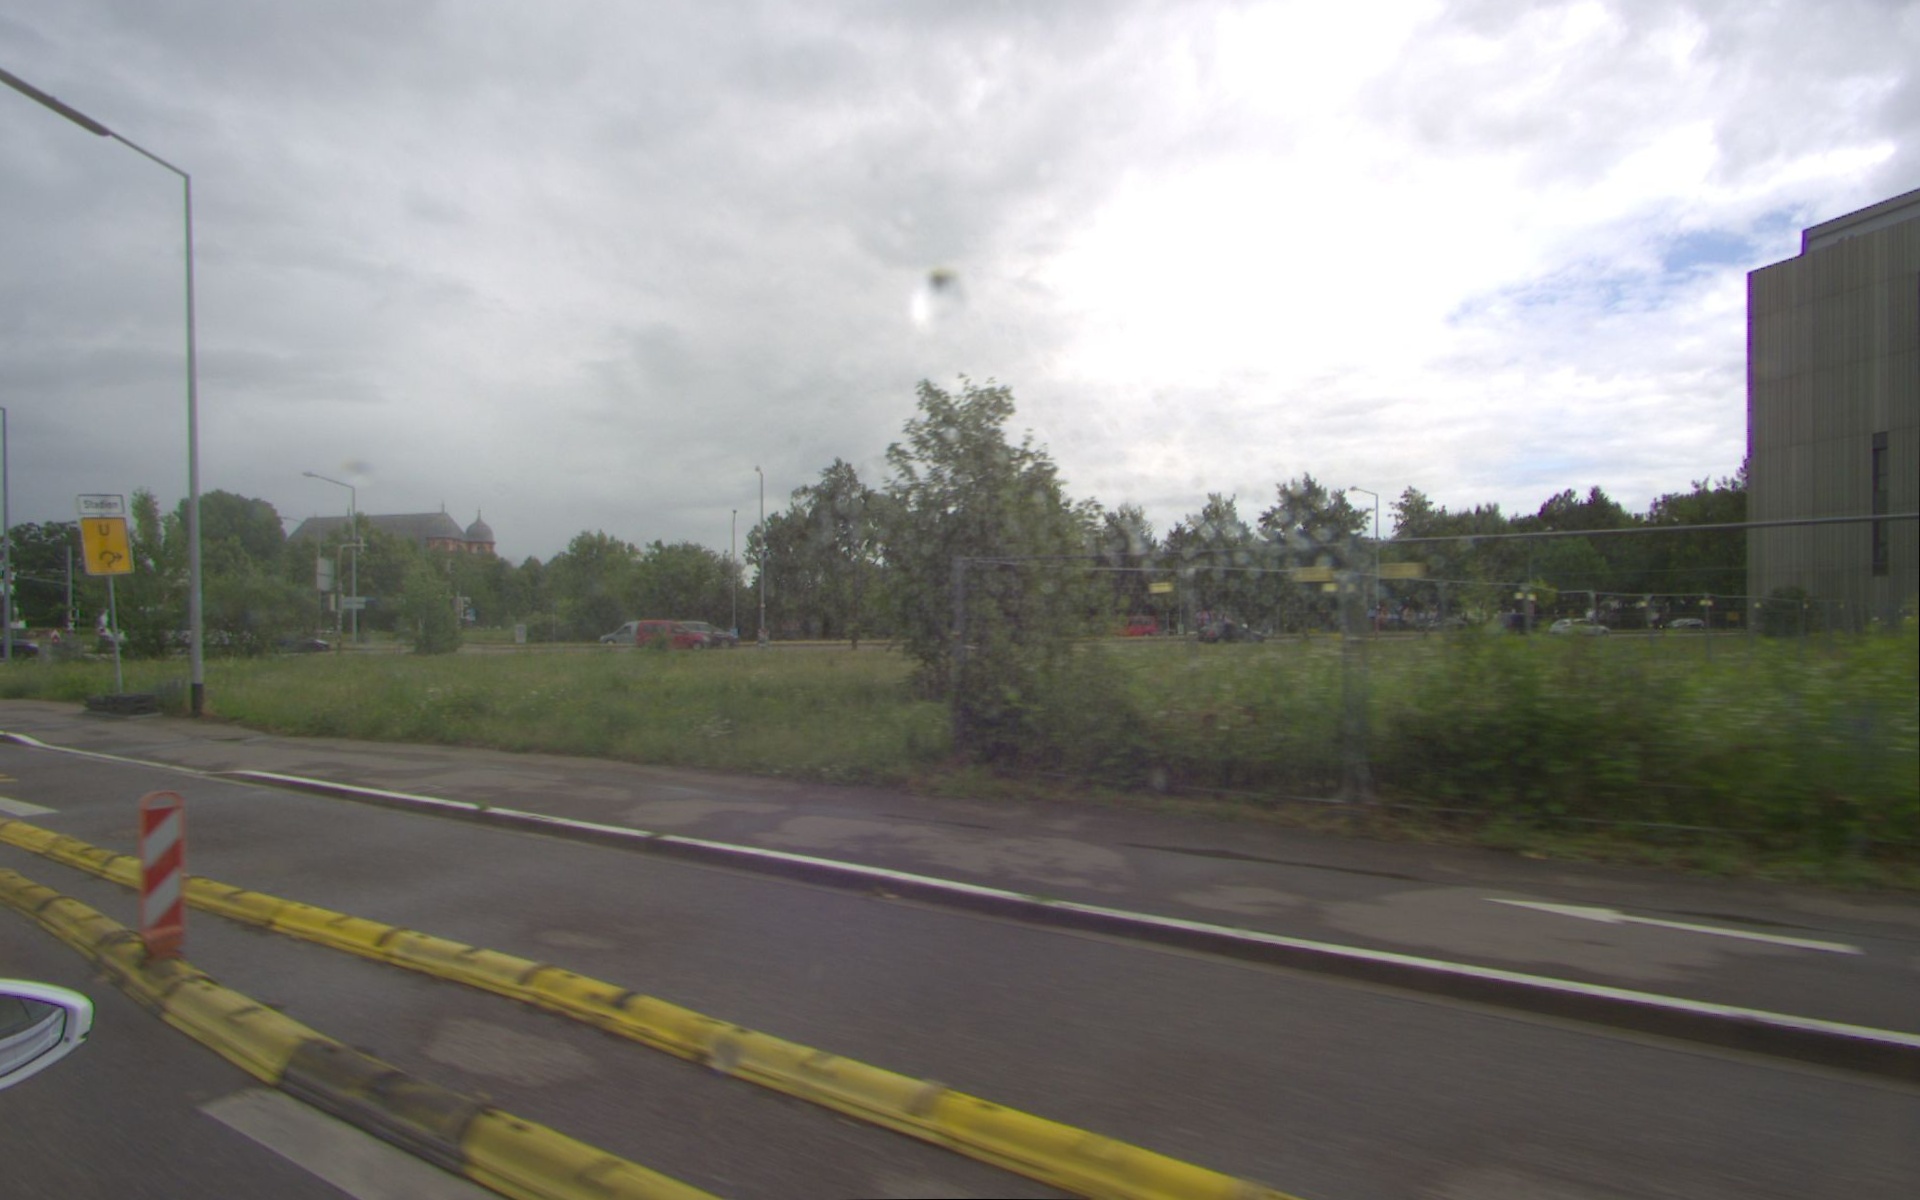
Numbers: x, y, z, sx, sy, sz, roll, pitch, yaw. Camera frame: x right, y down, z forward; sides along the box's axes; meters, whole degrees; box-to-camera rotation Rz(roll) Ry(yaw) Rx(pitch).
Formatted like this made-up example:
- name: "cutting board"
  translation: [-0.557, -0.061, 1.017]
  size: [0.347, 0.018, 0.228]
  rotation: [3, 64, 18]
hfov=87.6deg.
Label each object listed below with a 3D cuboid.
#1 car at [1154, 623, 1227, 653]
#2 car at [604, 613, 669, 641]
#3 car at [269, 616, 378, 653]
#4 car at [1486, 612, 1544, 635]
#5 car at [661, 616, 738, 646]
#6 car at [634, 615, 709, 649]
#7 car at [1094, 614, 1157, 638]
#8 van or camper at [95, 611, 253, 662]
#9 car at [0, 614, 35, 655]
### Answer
- name: "car"
  translation: [14.788, 2.432, 64.309]
  size: [4.135, 1.837, 2.074]
  rotation: [0, -1, -18]
- name: "car"
  translation: [-23.846, 1.978, 73.908]
  size: [4.395, 2.040, 1.998]
  rotation: [0, -1, -13]
- name: "car"
  translation: [-32.867, 1.756, 51.869]
  size: [4.537, 1.819, 2.107]
  rotation: [0, -1, -26]
- name: "car"
  translation: [43.946, 1.842, 79.275]
  size: [3.931, 1.805, 1.859]
  rotation: [0, -1, -19]
- name: "car"
  translation: [-16.064, 1.888, 61.792]
  size: [4.527, 1.819, 2.112]
  rotation: [0, -1, -17]
- name: "car"
  translation: [-16.783, 1.821, 58.189]
  size: [4.135, 1.942, 2.111]
  rotation: [0, -1, -18]
- name: "car"
  translation: [13.983, 2.176, 84.653]
  size: [4.802, 1.942, 2.113]
  rotation: [0, -1, -15]
- name: "van or camper"
  translation: [-35.394, 1.602, 45.228]
  size: [5.496, 2.143, 1.981]
  rotation: [1, -1, -43]
- name: "car"
  translation: [-42.778, 1.503, 42.991]
  size: [1.978, 1.772, 4.339]
  rotation: [-1, -1, 41]
